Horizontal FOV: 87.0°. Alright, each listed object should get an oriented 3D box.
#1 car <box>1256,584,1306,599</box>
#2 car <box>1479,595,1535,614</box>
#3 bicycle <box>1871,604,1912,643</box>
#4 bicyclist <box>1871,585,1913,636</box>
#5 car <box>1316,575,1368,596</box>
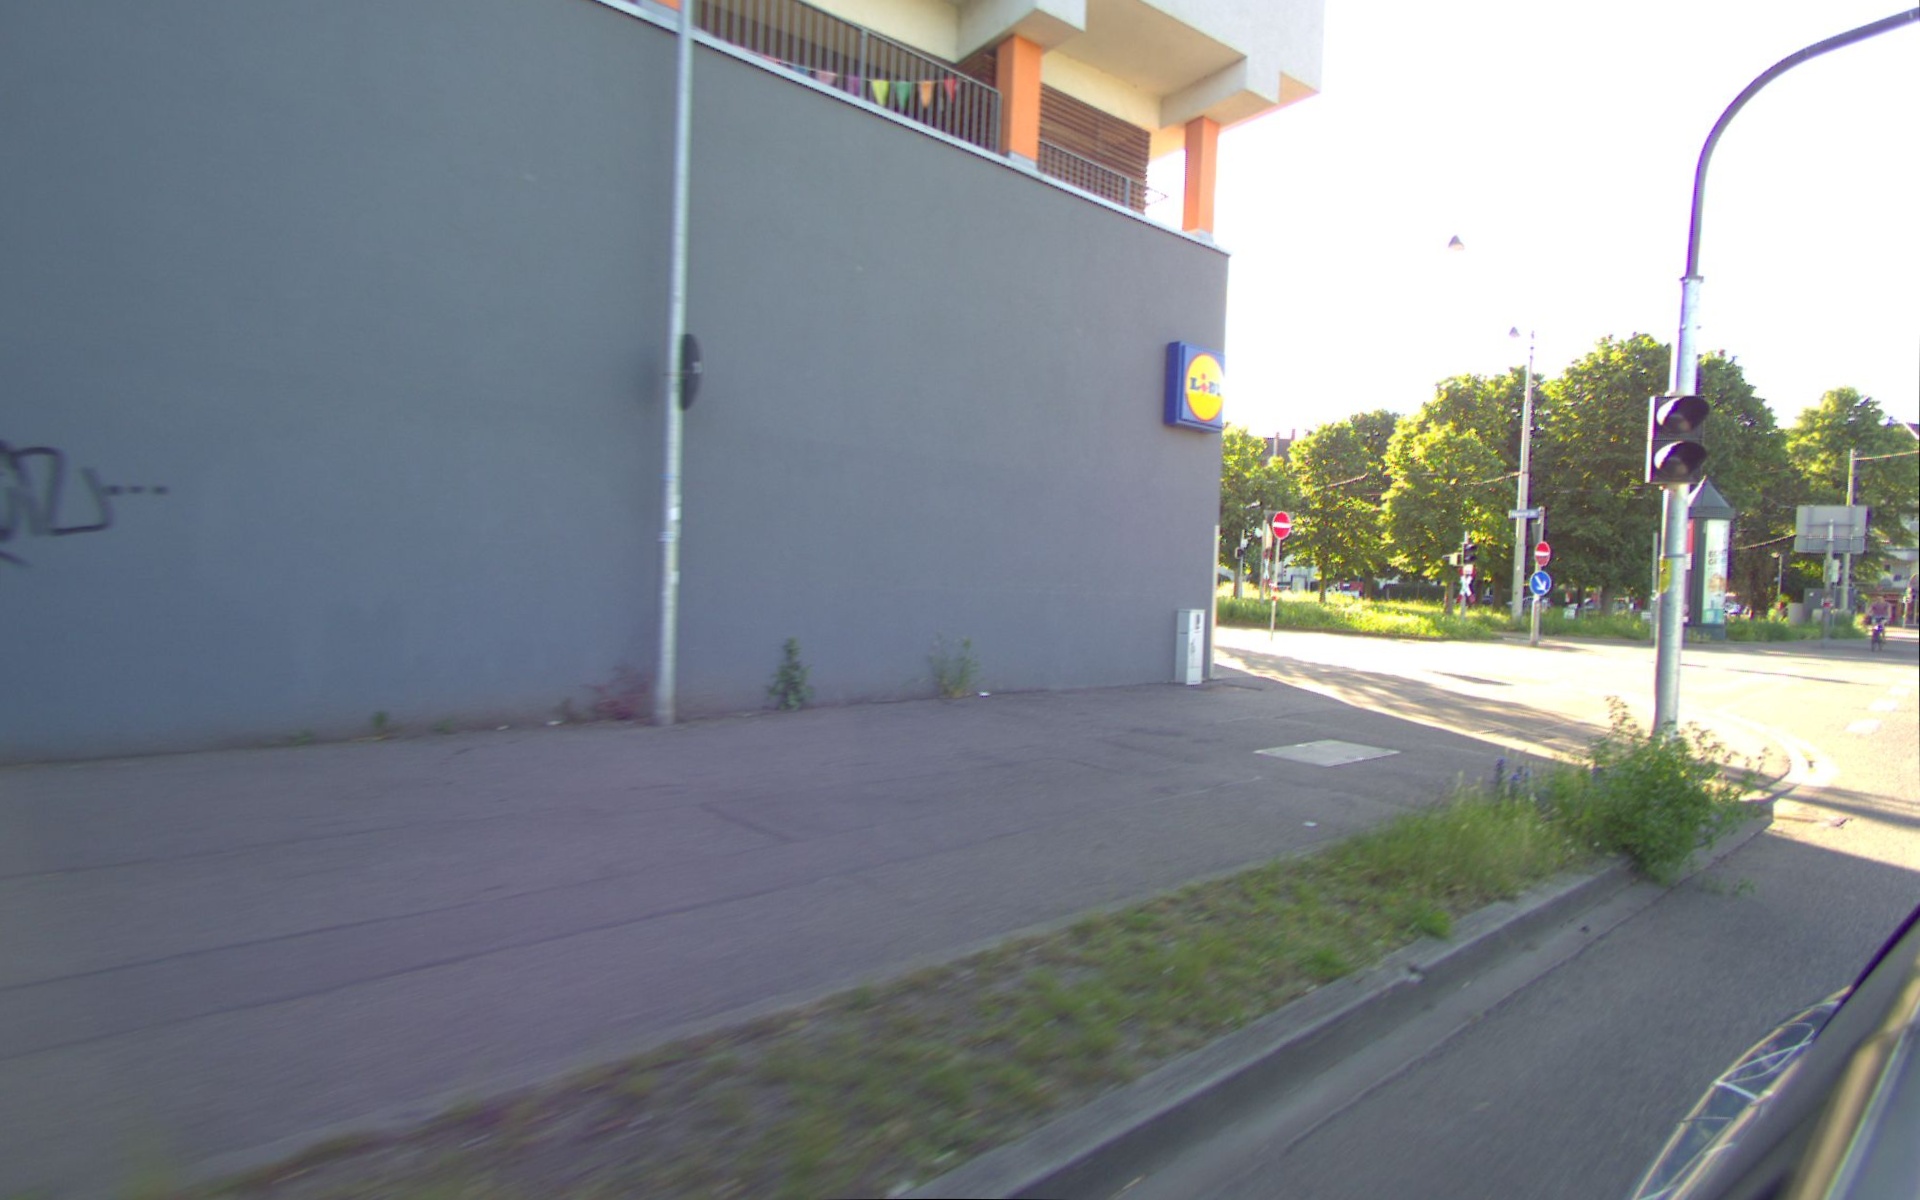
[{"bbox_3d":[30.955,-0.844,97.615,4.301,1.446,1.689,0,1,5],"label":"car"},{"bbox_3d":[50.810,0.418,94.080,4.111,1.738,1.998,0,1,4],"label":"car"},{"bbox_3d":[30.731,0.773,33.390,1.966,1.207,0.720,1,2,-41],"label":"bicycle"},{"bbox_3d":[30.827,0.346,33.478,1.129,1.619,0.813,2,2,-41],"label":"bicyclist"},{"bbox_3d":[36.475,-1.407,96.698,4.256,1.989,1.908,0,1,5],"label":"car"}]
